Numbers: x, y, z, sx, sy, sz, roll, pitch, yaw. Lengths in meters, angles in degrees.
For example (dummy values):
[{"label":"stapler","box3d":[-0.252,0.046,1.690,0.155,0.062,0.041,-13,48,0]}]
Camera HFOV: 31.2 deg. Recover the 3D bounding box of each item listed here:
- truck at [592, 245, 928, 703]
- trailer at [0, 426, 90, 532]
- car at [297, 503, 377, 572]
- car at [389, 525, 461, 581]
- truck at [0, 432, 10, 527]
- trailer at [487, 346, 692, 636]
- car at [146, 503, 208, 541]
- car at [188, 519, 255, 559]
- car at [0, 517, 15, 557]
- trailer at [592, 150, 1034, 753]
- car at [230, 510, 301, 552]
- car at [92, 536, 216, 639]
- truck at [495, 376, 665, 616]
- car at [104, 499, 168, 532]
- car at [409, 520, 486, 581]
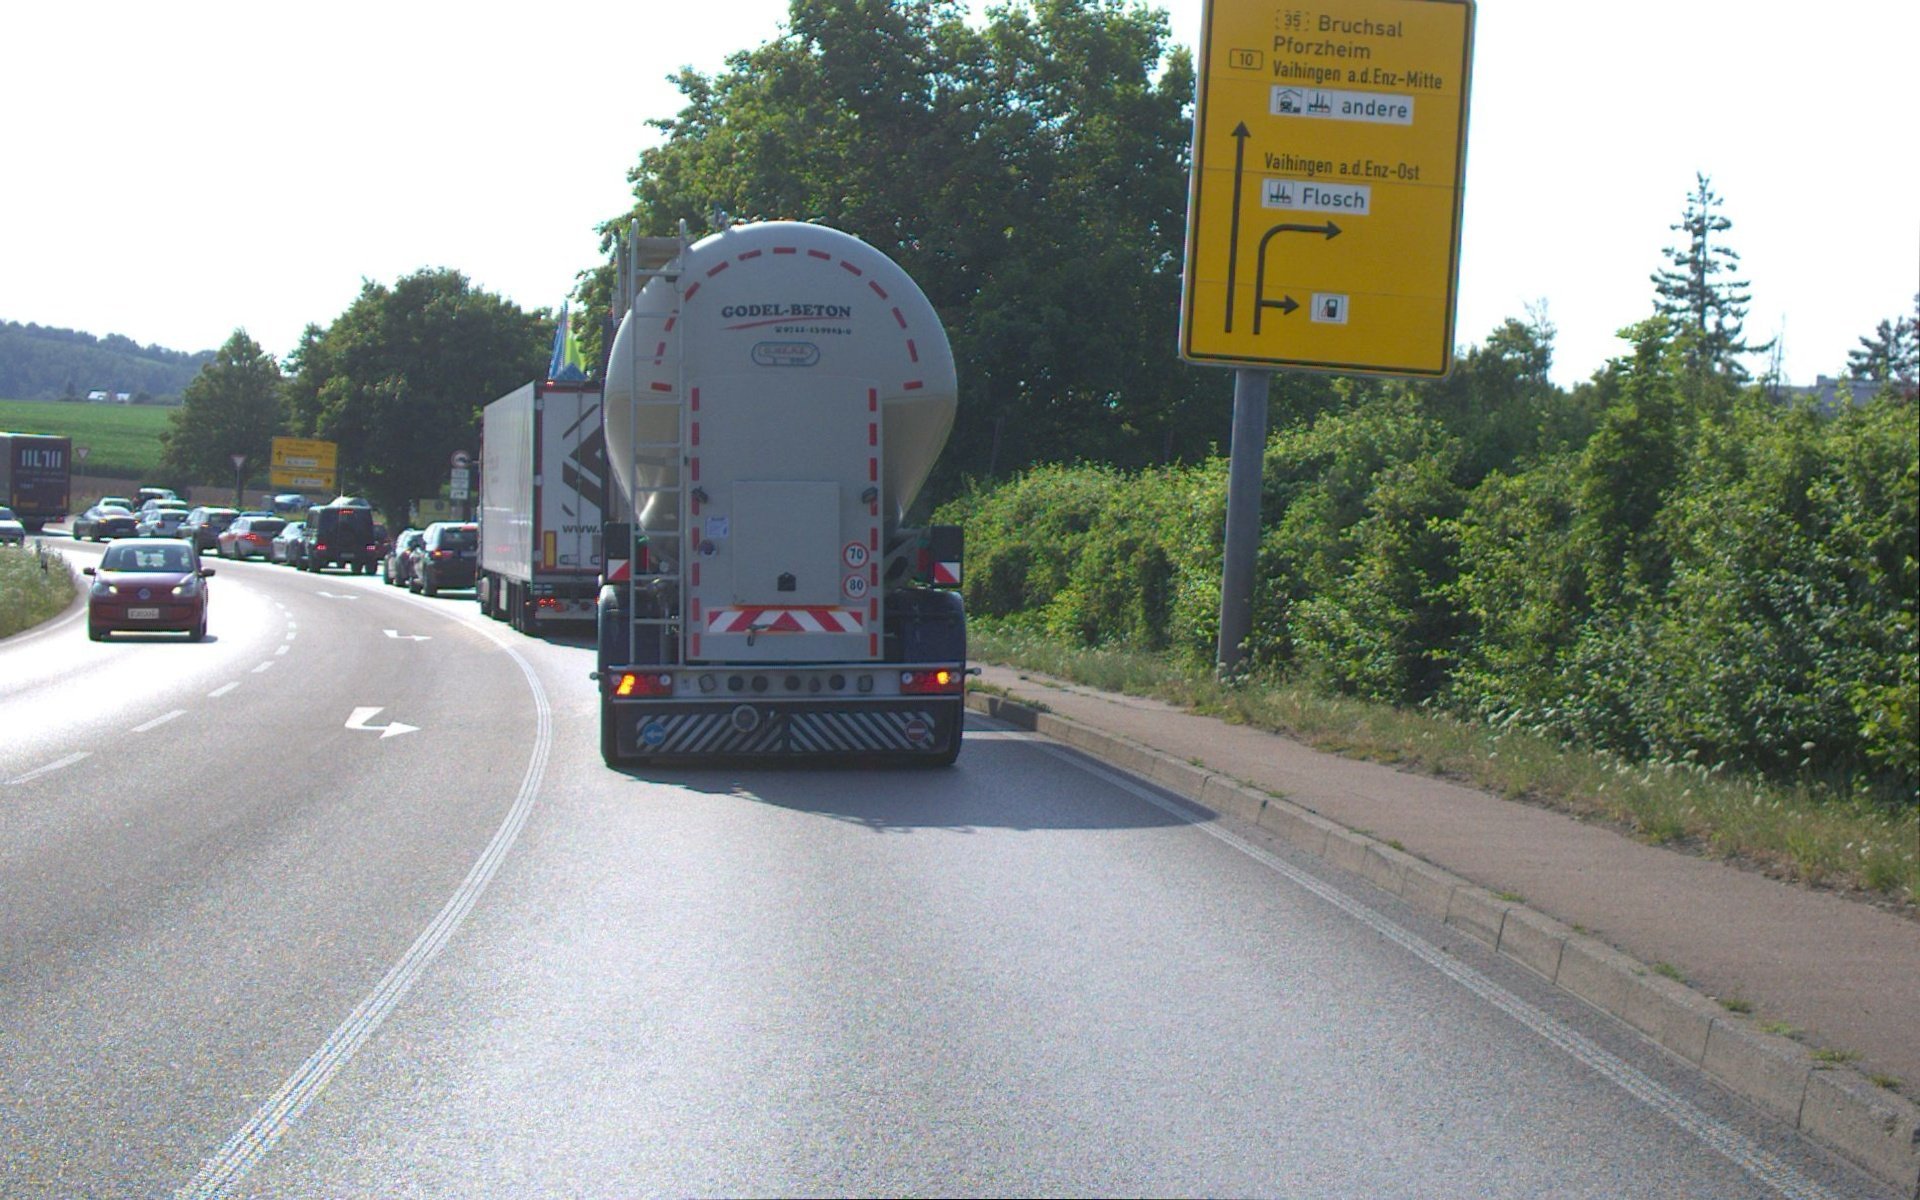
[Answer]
[{"label":"truck","box3d":[-1.972,-1.141,32.322,2.909,3.992,4.061,1,1,-6]},{"label":"trailer","box3d":[-42.247,-5.362,152.024,3.375,4.335,14.295,1,1,-30]},{"label":"car","box3d":[-18.496,-1.869,101.966,1.861,2.007,3.720,0,1,-18]},{"label":"car","box3d":[-13.722,-1.219,88.073,1.580,1.336,3.427,2,1,-13]},{"label":"truck","box3d":[-46.599,-5.668,159.492,3.375,4.335,5.706,1,1,-30]},{"label":"trailer","box3d":[-6.498,-1.809,59.216,2.954,4.301,14.179,2,1,-7]},{"label":"car","box3d":[-29.524,-2.942,129.514,1.580,1.336,3.426,2,1,-25]},{"label":"car","box3d":[-26.215,-2.178,121.934,1.580,1.336,3.426,2,1,-25]},{"label":"car","box3d":[-35.150,-2.297,123.574,1.706,1.423,4.179,1,1,-23]},{"label":"trailer","box3d":[-1.502,-1.079,27.947,2.909,3.992,9.932,1,1,-6]},{"label":"car","box3d":[-23.430,-2.340,115.924,1.580,1.336,3.426,2,1,-25]},{"label":"car","box3d":[-11.969,-0.220,51.204,1.585,1.461,3.608,-1,1,-10]},{"label":"truck","box3d":[-7.265,-1.960,65.411,2.951,4.288,4.932,2,1,-7]},{"label":"car","box3d":[-32.525,-3.345,135.659,1.769,1.201,3.426,2,1,-25]},{"label":"car","box3d":[-11.919,-1.164,79.832,1.580,1.336,3.426,2,1,-11]}]
